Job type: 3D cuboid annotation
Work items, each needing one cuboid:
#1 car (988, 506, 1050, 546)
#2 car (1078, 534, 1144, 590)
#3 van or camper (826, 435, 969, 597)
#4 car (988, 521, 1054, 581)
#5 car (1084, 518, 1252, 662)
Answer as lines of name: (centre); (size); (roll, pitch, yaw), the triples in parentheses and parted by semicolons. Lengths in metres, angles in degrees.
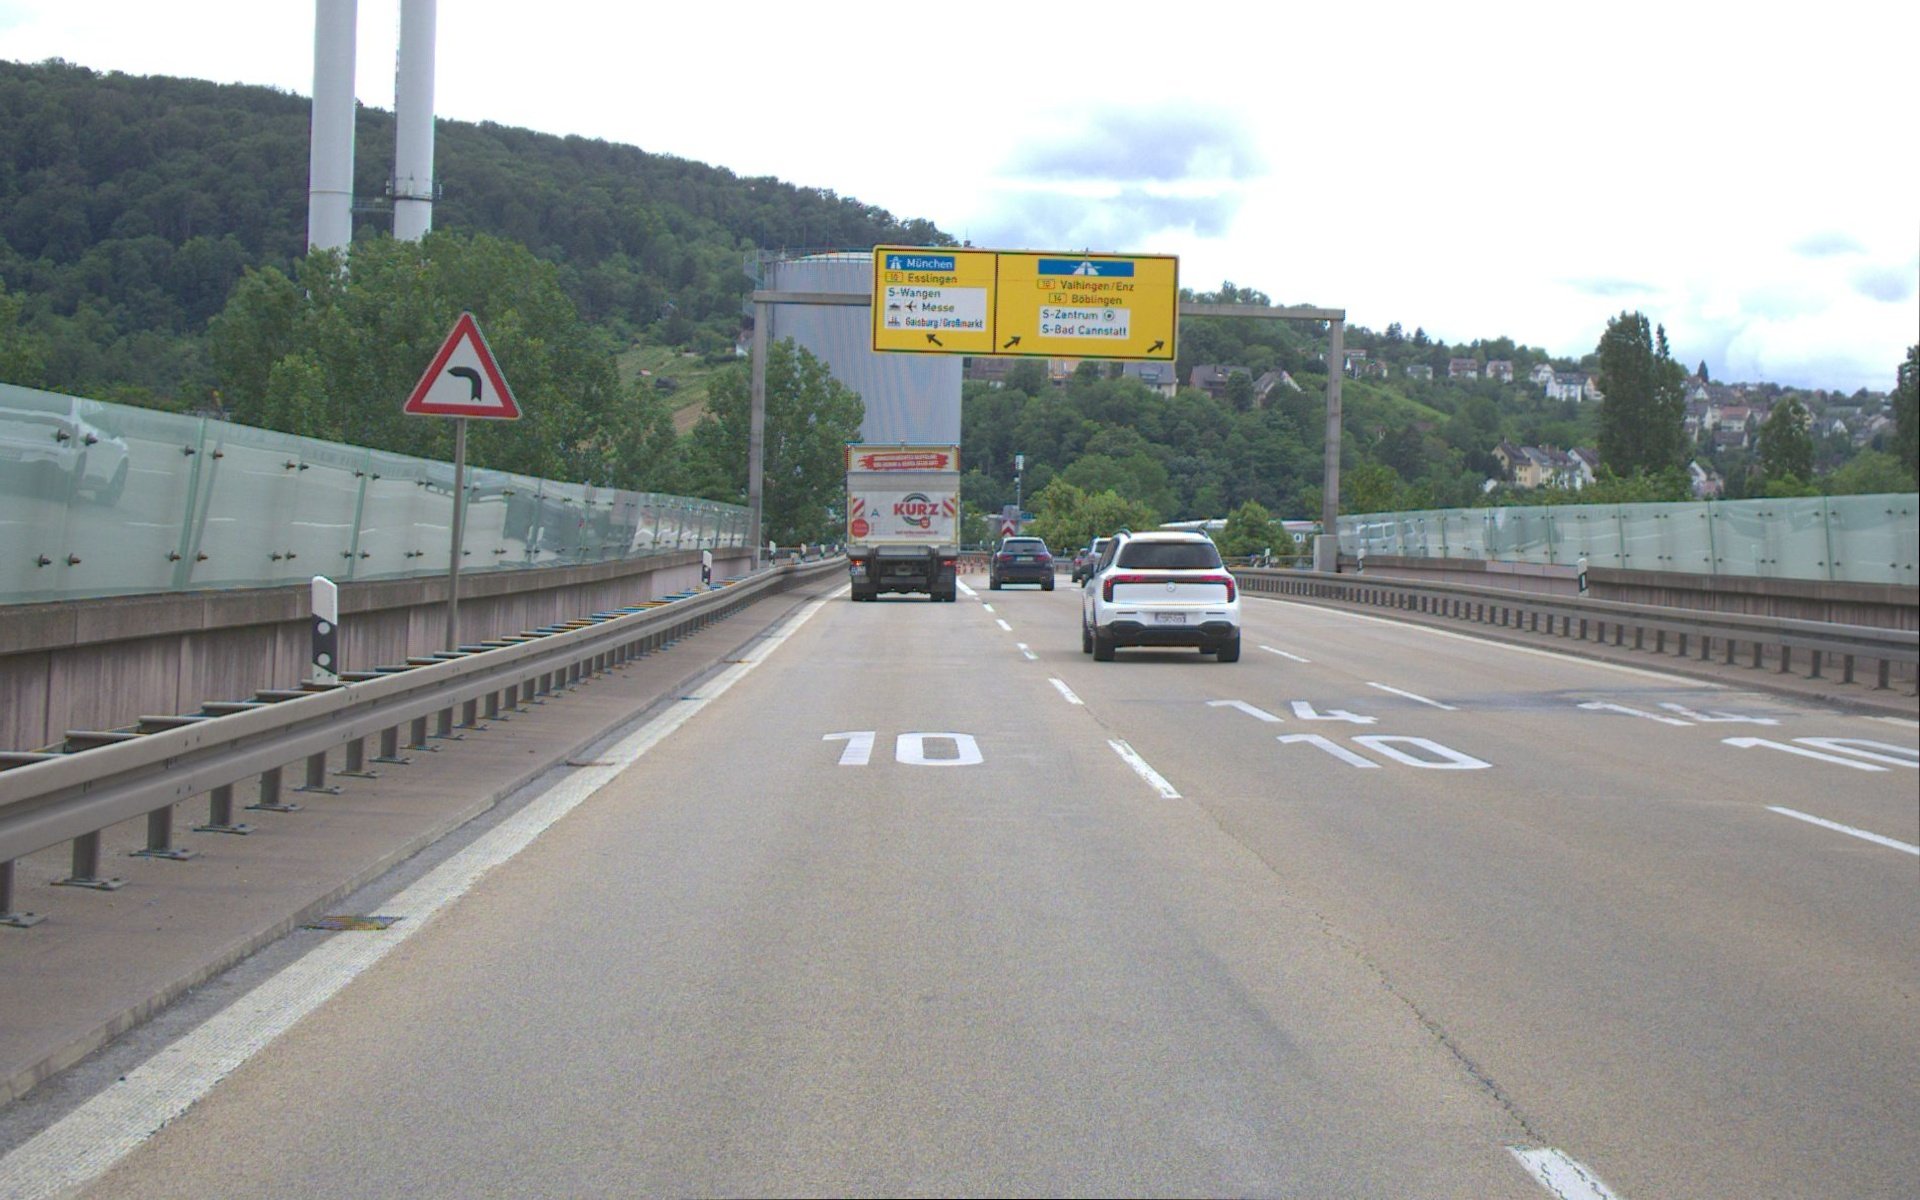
car: (2.976, -3.683, 172.403); (2.474, 1.973, 5.158); (0, 1, 9)
car: (4.942, -1.253, 113.047); (1.924, 1.779, 4.113); (0, 1, 0)
van or camper: (-1.372, -1.917, 80.363); (3.122, 3.567, 8.550); (0, 1, 0)
car: (1.857, -1.515, 105.380); (1.924, 1.779, 4.113); (1, 1, 0)
car: (2.671, -0.177, 44.948); (1.924, 1.779, 4.113); (1, 1, 0)
